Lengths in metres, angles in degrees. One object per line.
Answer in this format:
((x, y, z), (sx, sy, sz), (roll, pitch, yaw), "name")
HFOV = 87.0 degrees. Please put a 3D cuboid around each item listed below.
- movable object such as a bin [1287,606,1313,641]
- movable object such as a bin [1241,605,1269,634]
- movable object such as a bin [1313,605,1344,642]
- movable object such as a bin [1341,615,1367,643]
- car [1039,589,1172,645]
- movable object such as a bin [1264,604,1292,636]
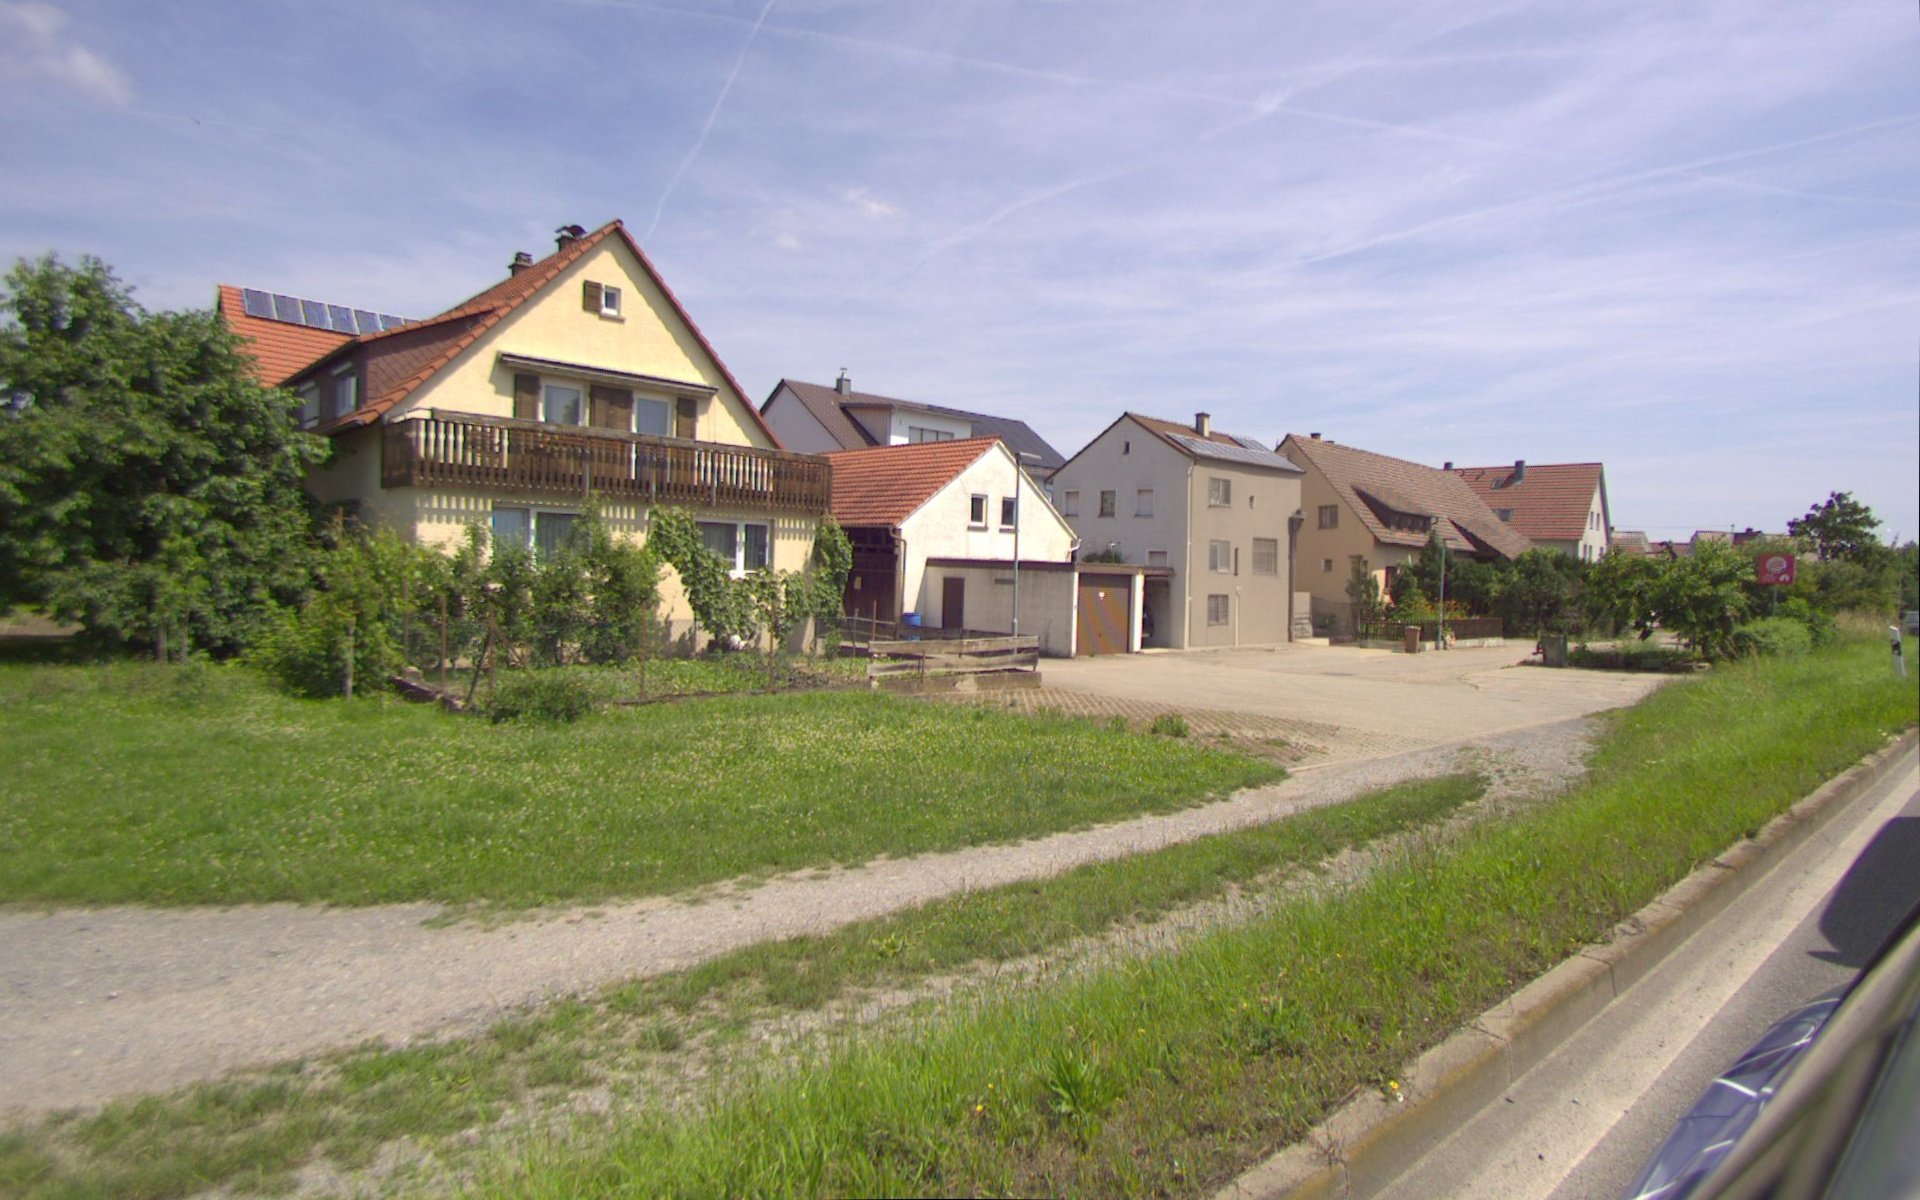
((13.266, 0.918, 39.481), (0.806, 1.355, 0.677), (1, 0, -42), "movable object such as a bin")
((11.857, 0.780, 40.697), (0.816, 1.171, 0.739), (1, 0, -42), "movable object such as a bin")
((13.920, 0.882, 38.268), (0.930, 1.387, 0.764), (1, 0, -42), "movable object such as a bin")
((14.638, 1.072, 37.566), (0.743, 1.040, 0.645), (1, 0, -42), "movable object such as a bin")
((4.558, 0.496, 32.136), (1.794, 1.624, 3.995), (1, 1, -40), "car")
((12.609, 0.789, 40.122), (0.874, 1.262, 0.744), (1, 0, -42), "movable object such as a bin")
